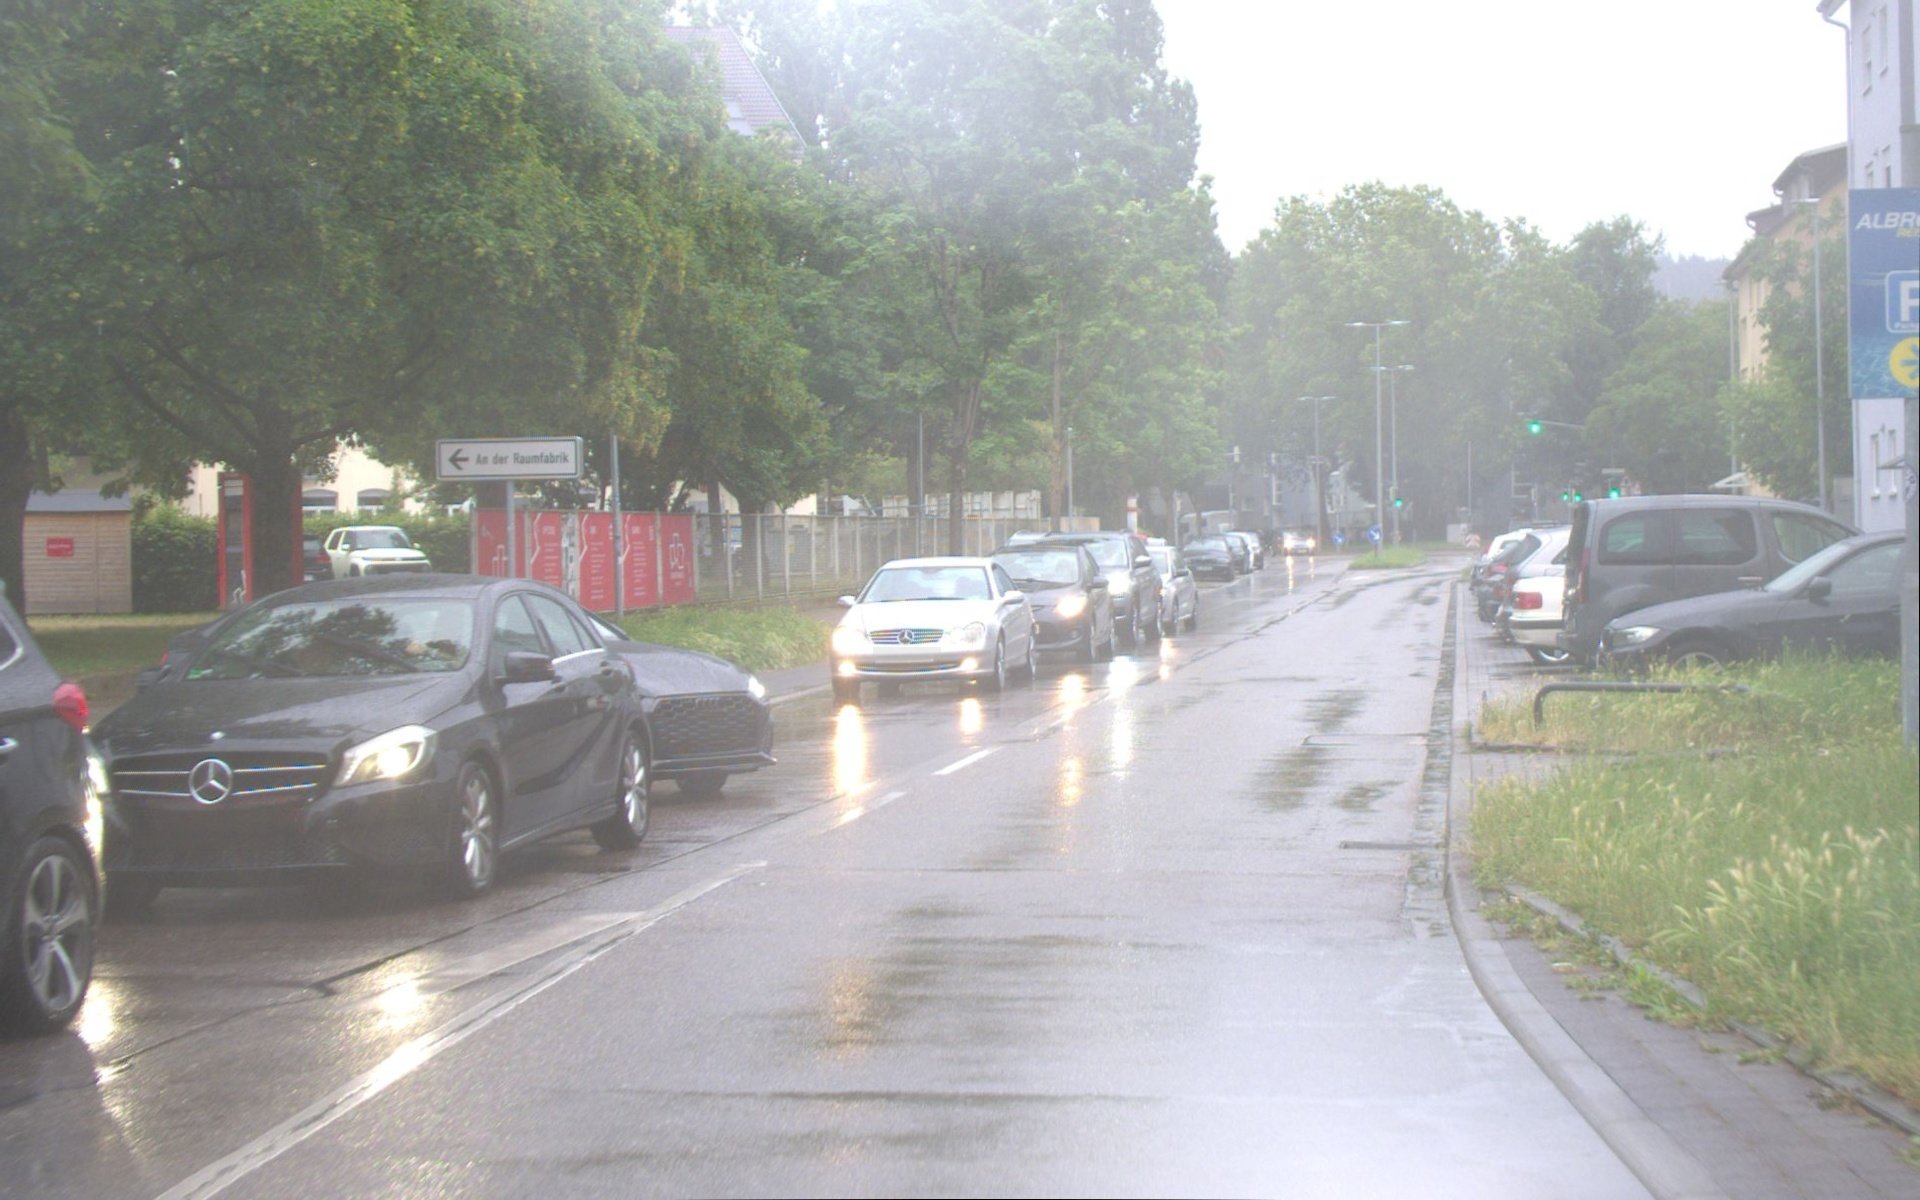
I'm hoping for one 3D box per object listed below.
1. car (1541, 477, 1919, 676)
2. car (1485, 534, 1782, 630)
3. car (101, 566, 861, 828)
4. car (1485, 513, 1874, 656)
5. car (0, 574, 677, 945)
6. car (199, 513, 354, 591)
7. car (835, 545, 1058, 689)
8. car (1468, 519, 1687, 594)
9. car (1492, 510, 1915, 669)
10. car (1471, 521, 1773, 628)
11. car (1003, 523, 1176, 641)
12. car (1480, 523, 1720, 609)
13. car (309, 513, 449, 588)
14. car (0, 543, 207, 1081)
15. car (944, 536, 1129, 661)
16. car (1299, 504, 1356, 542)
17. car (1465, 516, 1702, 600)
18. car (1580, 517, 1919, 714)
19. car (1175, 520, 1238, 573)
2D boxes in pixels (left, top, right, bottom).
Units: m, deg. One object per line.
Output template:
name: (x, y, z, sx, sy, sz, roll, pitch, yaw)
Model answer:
car: (7.960, -0.248, 33.807, 4.232, 1.799, 1.944, -2, 1, 5)
car: (9.099, -0.250, 46.603, 3.856, 1.203, 1.955, -1, 1, 10)
car: (-3.177, 0.560, 22.168, 4.924, 1.449, 2.081, 0, 2, 41)
car: (8.094, -0.187, 39.011, 4.182, 1.566, 1.890, 0, 1, 7)
car: (-2.721, 0.631, 15.899, 1.727, 1.356, 4.336, -2, 1, 10)
car: (-14.597, -1.010, 73.282, 1.993, 1.552, 4.000, -2, 0, -30)
car: (-0.069, 0.129, 36.292, 1.775, 1.398, 4.829, 0, 1, 7)
car: (12.604, -0.892, 70.077, 4.272, 1.449, 1.983, 0, 2, 14)
car: (7.799, -0.122, 36.414, 4.190, 1.563, 1.888, -1, 1, 7)
car: (9.403, -0.374, 49.124, 4.145, 1.481, 2.012, 0, 1, 8)
car: (1.945, -0.296, 50.189, 1.915, 1.634, 4.820, 0, 1, 10)
car: (11.032, -0.596, 59.493, 3.988, 1.437, 1.781, 0, 1, 8)
car: (-12.599, -1.058, 74.402, 1.844, 1.567, 4.000, -1, 0, -27)
car: (-3.935, 0.650, 9.706, 1.868, 1.614, 4.800, -1, -1, 9)
car: (1.020, -0.055, 43.412, 1.779, 1.415, 4.264, -1, 2, 8)
car: (20.131, -4.203, 188.450, 1.993, 2.007, 4.001, -1, 1, -11)
car: (11.775, -0.793, 65.185, 4.342, 1.546, 2.039, 0, 1, 8)
car: (7.290, 0.085, 27.396, 4.534, 1.465, 1.983, -1, 1, 9)
car: (7.681, -1.680, 107.408, 1.775, 1.524, 4.001, 0, 3, 1)
